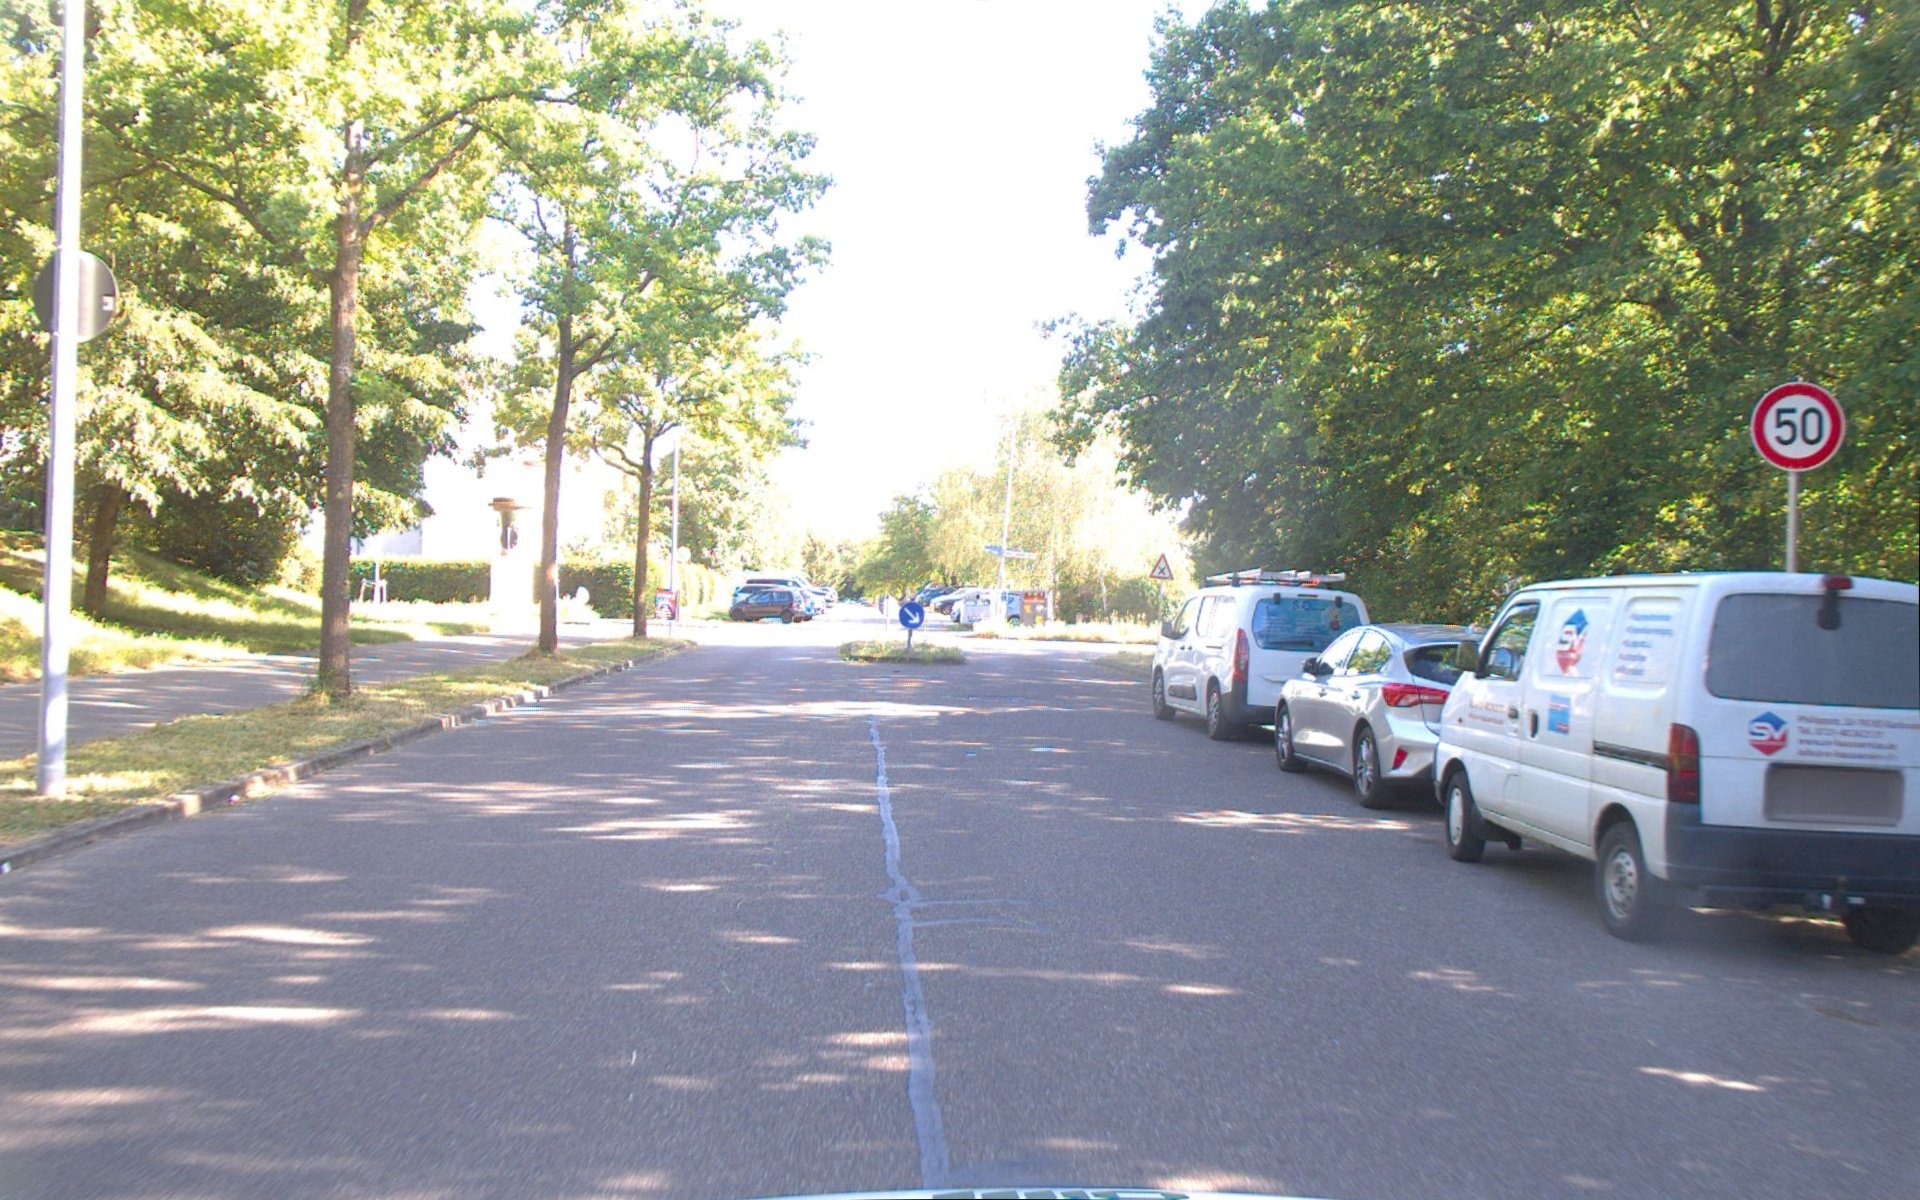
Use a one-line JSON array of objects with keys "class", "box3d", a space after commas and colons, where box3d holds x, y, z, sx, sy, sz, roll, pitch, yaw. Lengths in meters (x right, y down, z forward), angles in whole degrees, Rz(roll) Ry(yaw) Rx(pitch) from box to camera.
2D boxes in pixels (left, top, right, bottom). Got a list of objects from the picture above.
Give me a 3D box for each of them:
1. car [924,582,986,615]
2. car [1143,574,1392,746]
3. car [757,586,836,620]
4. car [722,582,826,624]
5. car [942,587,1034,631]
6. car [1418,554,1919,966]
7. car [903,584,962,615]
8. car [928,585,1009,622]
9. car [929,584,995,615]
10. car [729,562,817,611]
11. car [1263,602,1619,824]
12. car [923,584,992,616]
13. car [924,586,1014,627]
[{"class": "car", "box3d": [-0.314, -0.104, 104.582, 3.759, 1.827, 1.689, 3, 0, 2]}, {"class": "car", "box3d": [3.658, 0.648, 20.551, 1.756, 1.816, 4.551, 3, 0, -6]}, {"class": "car", "box3d": [-8.890, 0.165, 90.178, 4.024, 1.604, 1.958, 3, 0, -1]}, {"class": "car", "box3d": [-8.286, 0.131, 73.891, 4.228, 1.604, 2.047, 3, 0, 4]}, {"class": "car", "box3d": [1.198, 0.381, 69.865, 3.758, 1.604, 1.689, 3, 0, 4]}, {"class": "car", "box3d": [3.984, 0.729, 9.292, 1.591, 1.804, 3.667, 3, 0, -3]}, {"class": "car", "box3d": [-1.818, -0.059, 109.444, 3.759, 1.827, 1.689, 3, 0, 2]}, {"class": "car", "box3d": [0.427, 0.170, 80.464, 3.758, 1.604, 1.689, 3, 0, 4]}, {"class": "car", "box3d": [0.130, -0.048, 98.399, 3.759, 1.604, 1.689, 3, 0, 2]}, {"class": "car", "box3d": [-11.204, -0.807, 99.029, 5.102, 2.666, 2.290, 3, 0, -8]}, {"class": "car", "box3d": [3.971, 0.849, 14.417, 1.657, 1.538, 4.204, 3, 0, -3]}, {"class": "car", "box3d": [-0.127, -0.009, 95.252, 3.758, 1.604, 1.689, 3, 0, 4]}, {"class": "car", "box3d": [0.421, 0.284, 72.651, 3.758, 1.604, 1.689, 3, 0, 4]}]
